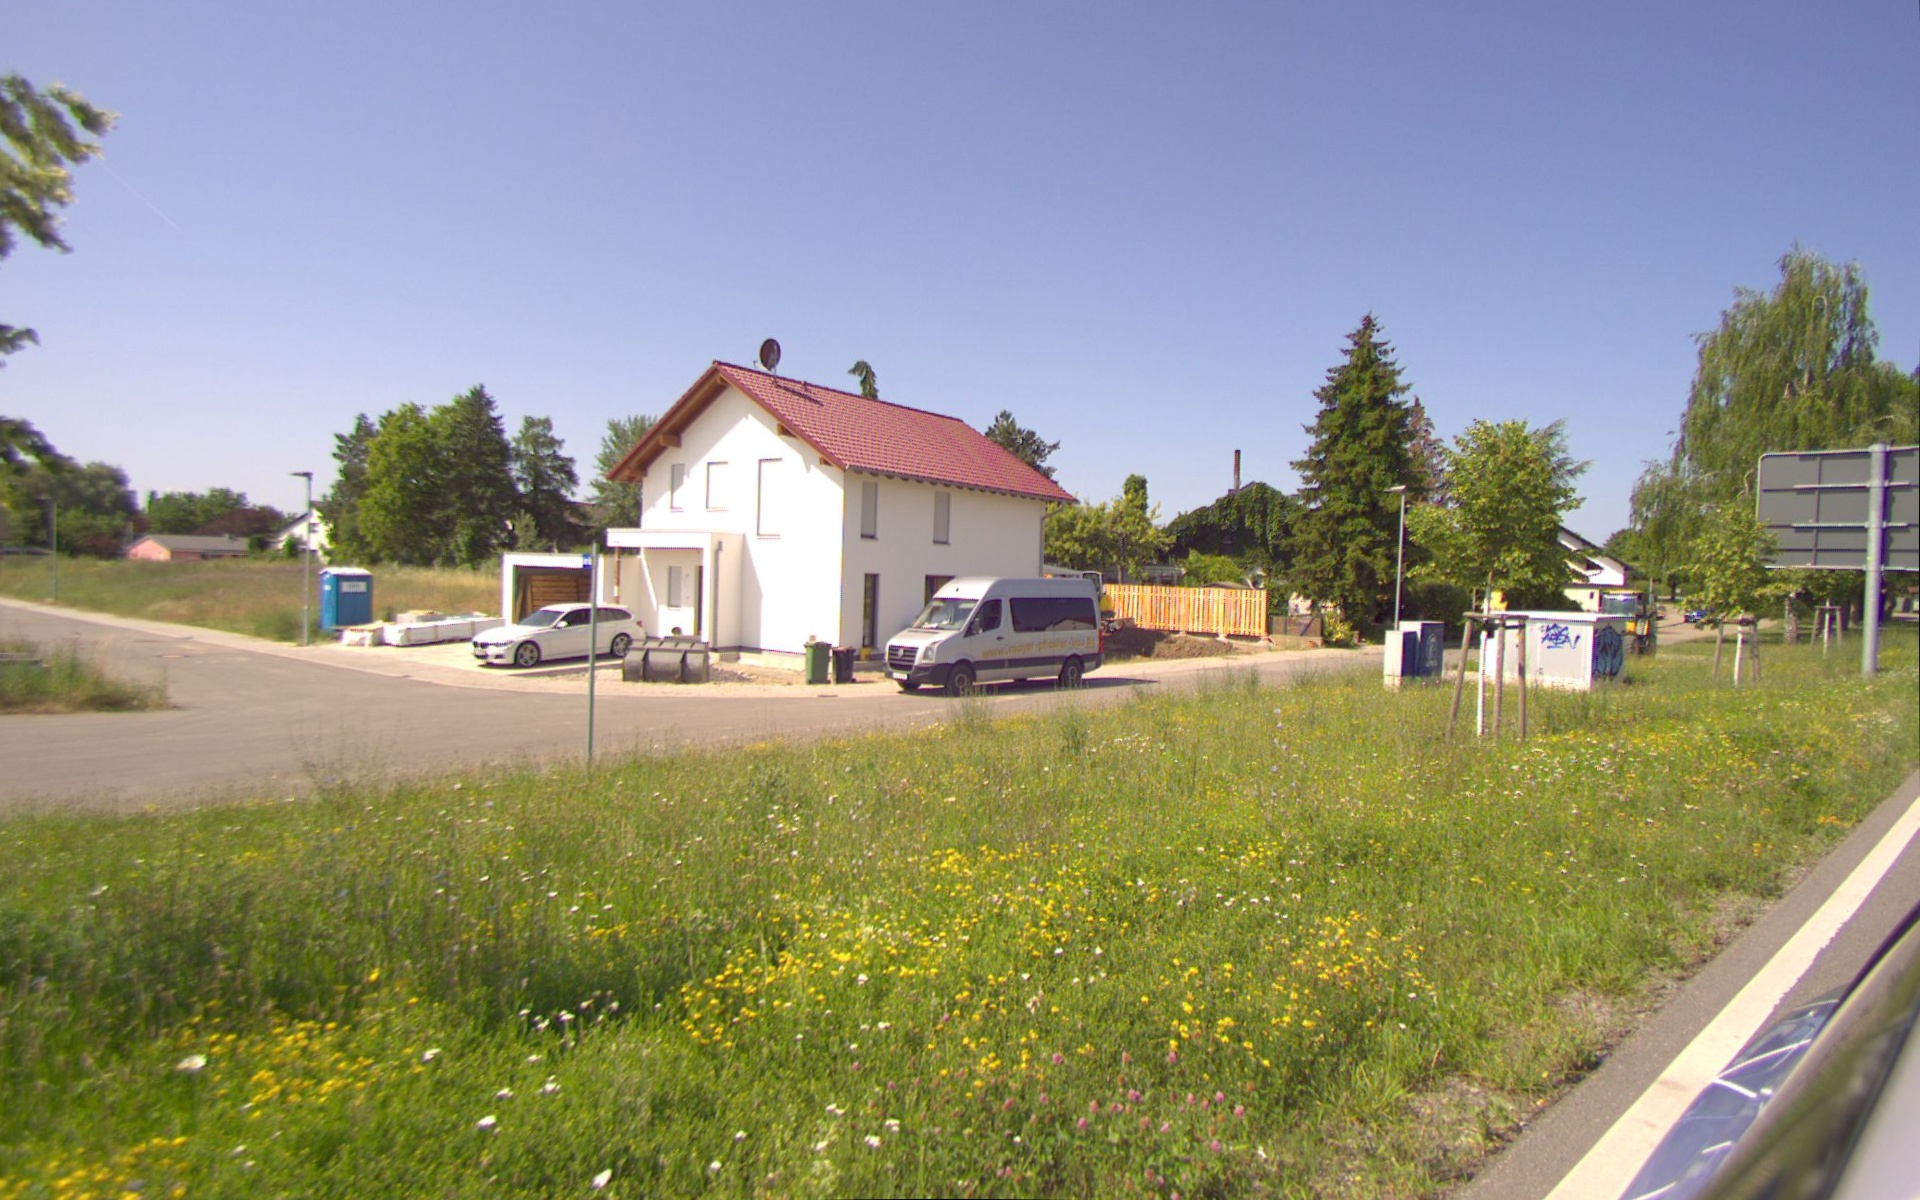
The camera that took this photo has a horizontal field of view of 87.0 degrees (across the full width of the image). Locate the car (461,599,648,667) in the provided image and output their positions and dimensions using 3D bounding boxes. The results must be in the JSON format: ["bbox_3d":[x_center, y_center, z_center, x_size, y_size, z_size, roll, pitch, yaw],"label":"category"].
[{"bbox_3d":[-10.460,0.775,26.422,1.553,1.577,4.433,0,0,34],"label":"car"}]

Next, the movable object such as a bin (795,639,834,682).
[{"bbox_3d":[-3.390,1.403,23.596,0.626,0.949,0.694,1,1,-36],"label":"movable object such as a bin"}]

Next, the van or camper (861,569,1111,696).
[{"bbox_3d":[0.745,0.616,23.650,5.925,2.633,2.176,-1,1,-41],"label":"van or camper"}]

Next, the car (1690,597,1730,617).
[{"bbox_3d":[57.667,0.509,77.816,4.101,1.463,1.859,-1,0,-45],"label":"car"}]

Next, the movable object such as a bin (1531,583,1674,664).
[{"bbox_3d":[22.043,0.690,34.587,6.825,2.494,2.320,-1,1,-41],"label":"movable object such as a bin"}]

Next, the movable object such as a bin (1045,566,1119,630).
[{"bbox_3d":[5.179,-0.111,42.860,2.838,2.589,1.778,1,0,16],"label":"movable object such as a bin"}]

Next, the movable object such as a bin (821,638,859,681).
[{"bbox_3d":[-2.848,1.398,24.006,0.626,0.949,0.694,1,1,-36],"label":"movable object such as a bin"}]
